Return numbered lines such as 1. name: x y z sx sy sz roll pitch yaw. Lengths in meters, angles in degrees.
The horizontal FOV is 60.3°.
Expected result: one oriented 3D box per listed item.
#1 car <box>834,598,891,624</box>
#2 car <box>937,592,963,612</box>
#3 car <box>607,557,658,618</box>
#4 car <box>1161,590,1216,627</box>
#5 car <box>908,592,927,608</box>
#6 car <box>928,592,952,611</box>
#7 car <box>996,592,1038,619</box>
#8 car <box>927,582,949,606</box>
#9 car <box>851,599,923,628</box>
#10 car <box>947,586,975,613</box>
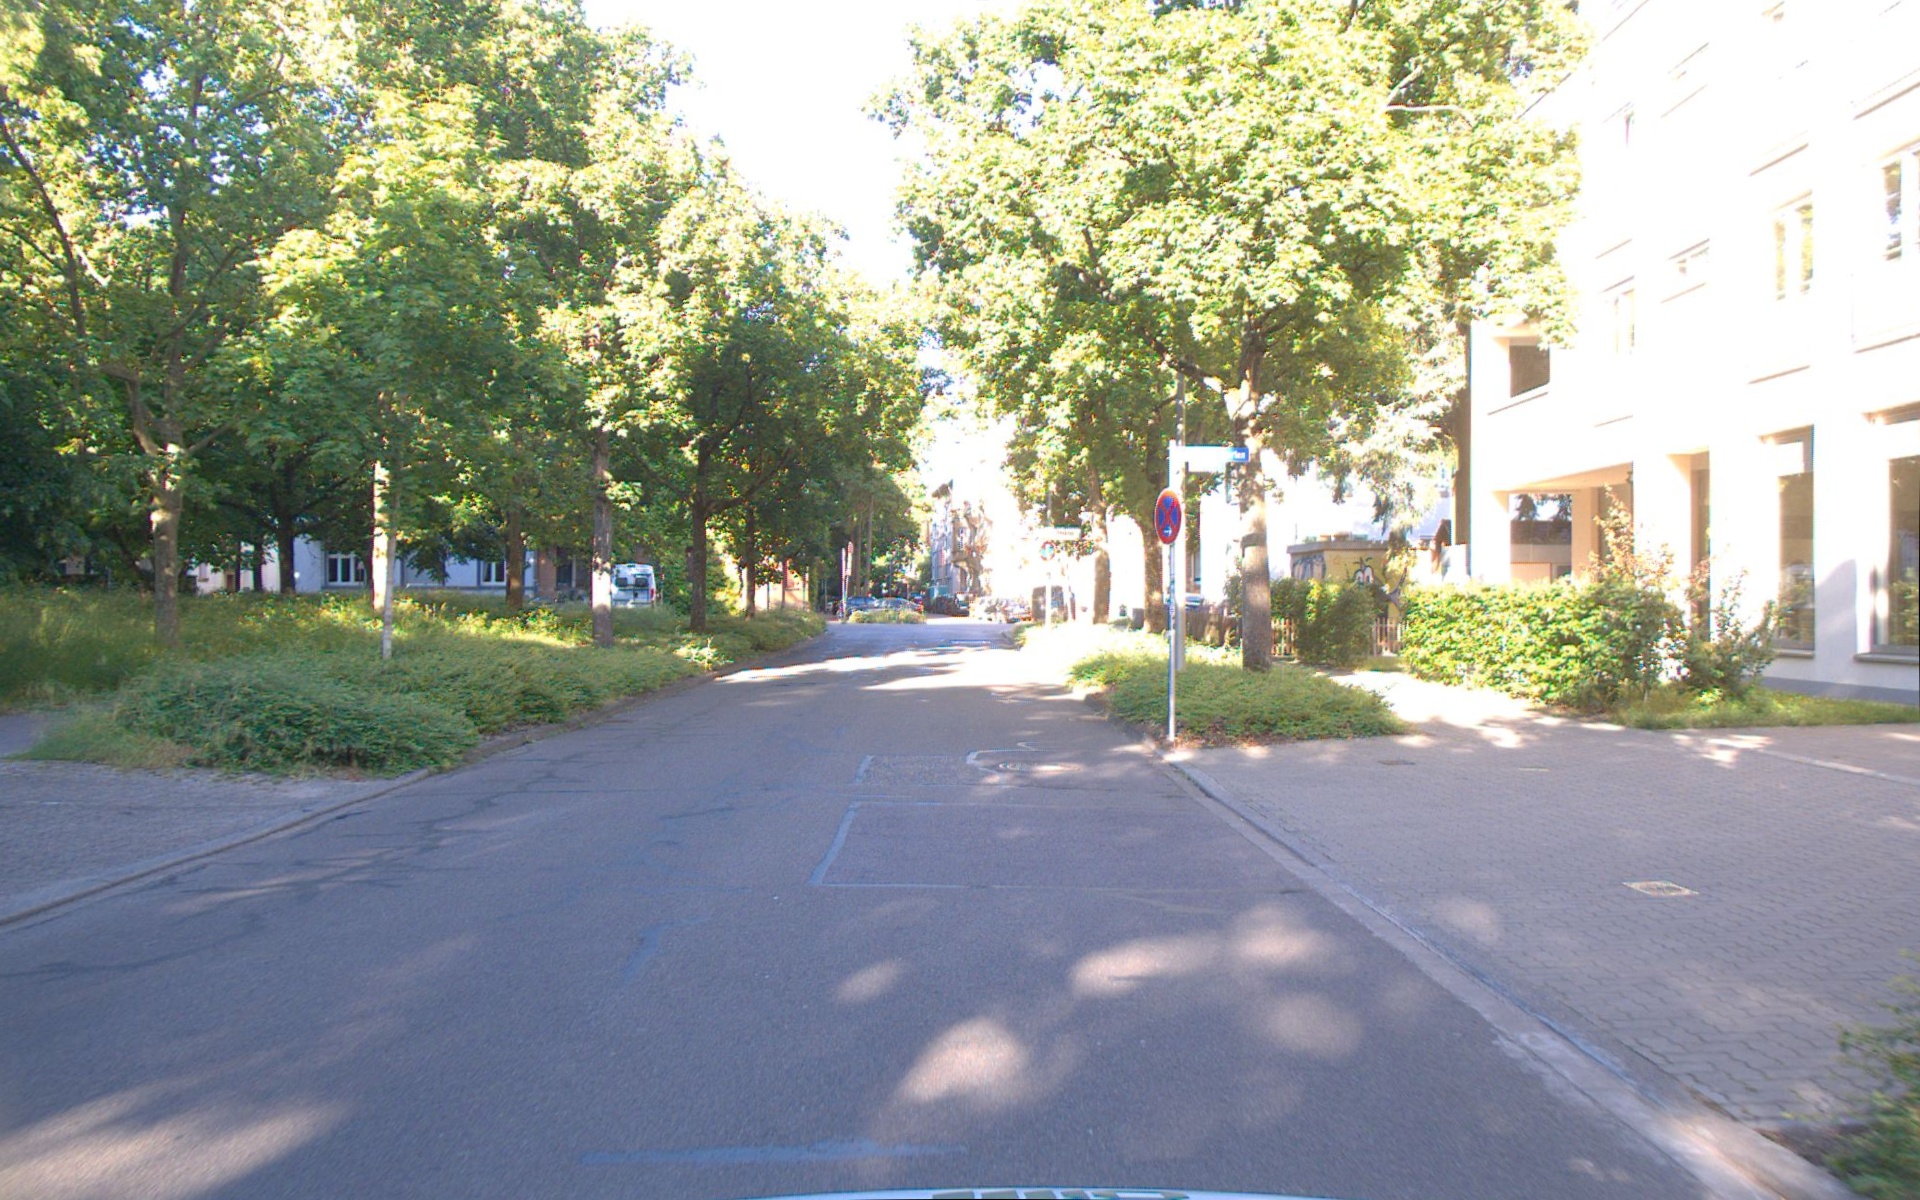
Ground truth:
1. car: -6.228 0.696 105.813 3.520 1.536 1.497 1 0 -9
2. car: -0.801 0.116 132.414 1.775 1.527 3.997 1 0 -4
3. car: -14.231 -0.534 72.003 1.957 2.552 3.992 1 0 -9
4. car: 10.447 0.364 75.799 1.953 1.612 3.639 1 0 -1
5. car: -4.299 0.028 166.091 1.775 1.527 3.997 1 0 -4
6. car: -1.694 0.098 139.257 1.775 1.527 3.997 1 0 -4
7. car: 3.278 0.292 95.656 1.777 1.527 3.993 0 0 -8
8. car: -1.974 -0.575 149.141 1.775 2.086 3.997 1 0 -4
9. car: -4.139 0.762 93.360 3.912 1.527 1.814 1 0 -9
10. car: 0.063 -0.068 124.284 1.775 1.959 3.997 1 0 -4
